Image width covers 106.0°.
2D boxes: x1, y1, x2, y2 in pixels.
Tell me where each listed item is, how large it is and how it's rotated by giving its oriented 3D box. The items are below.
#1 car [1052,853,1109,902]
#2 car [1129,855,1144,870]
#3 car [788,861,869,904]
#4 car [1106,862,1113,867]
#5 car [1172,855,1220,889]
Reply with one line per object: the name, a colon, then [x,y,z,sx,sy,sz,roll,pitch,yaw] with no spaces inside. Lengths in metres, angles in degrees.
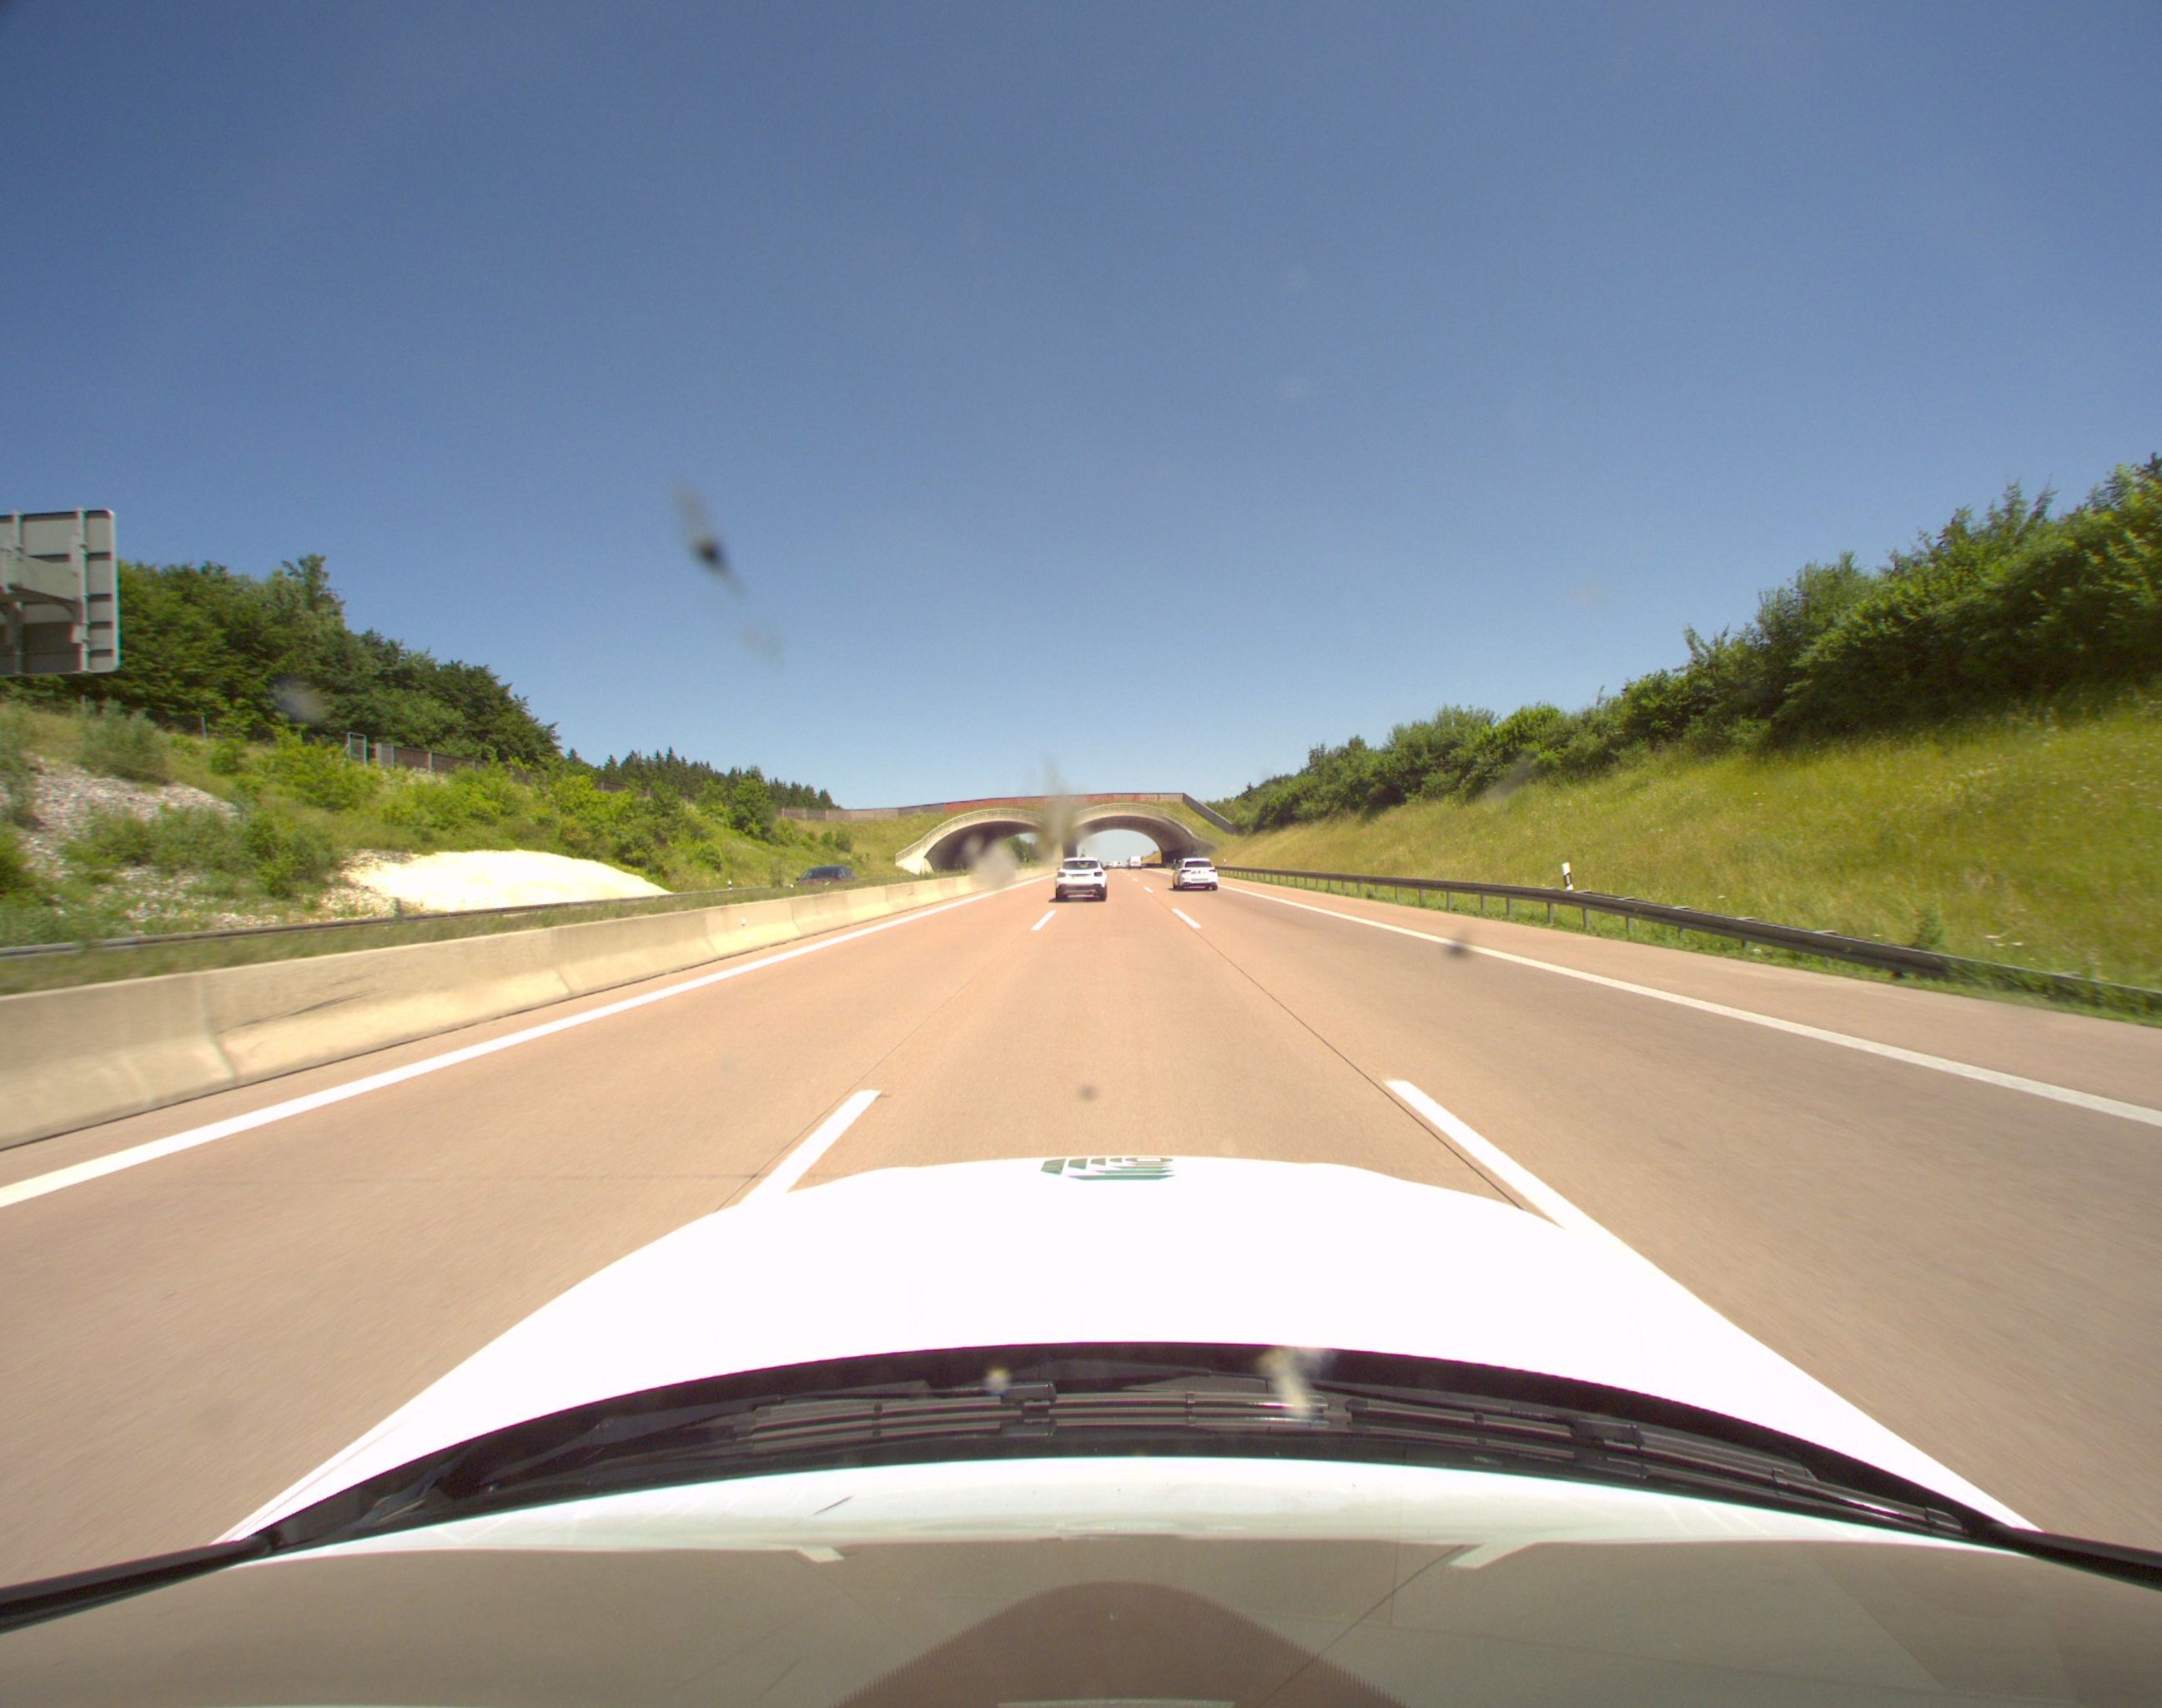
car: [0.057,0.786,29.920,1.872,1.607,4.836,-1,0,2]
car: [8.081,1.180,118.264,2.101,2.053,4.004,-1,1,4]
car: [-10.826,1.181,35.298,1.884,1.593,4.978,0,1,0]
car: [8.651,3.078,248.008,1.883,1.463,4.002,0,0,2]
car: [5.230,0.785,37.325,1.882,1.398,4.004,0,1,4]
